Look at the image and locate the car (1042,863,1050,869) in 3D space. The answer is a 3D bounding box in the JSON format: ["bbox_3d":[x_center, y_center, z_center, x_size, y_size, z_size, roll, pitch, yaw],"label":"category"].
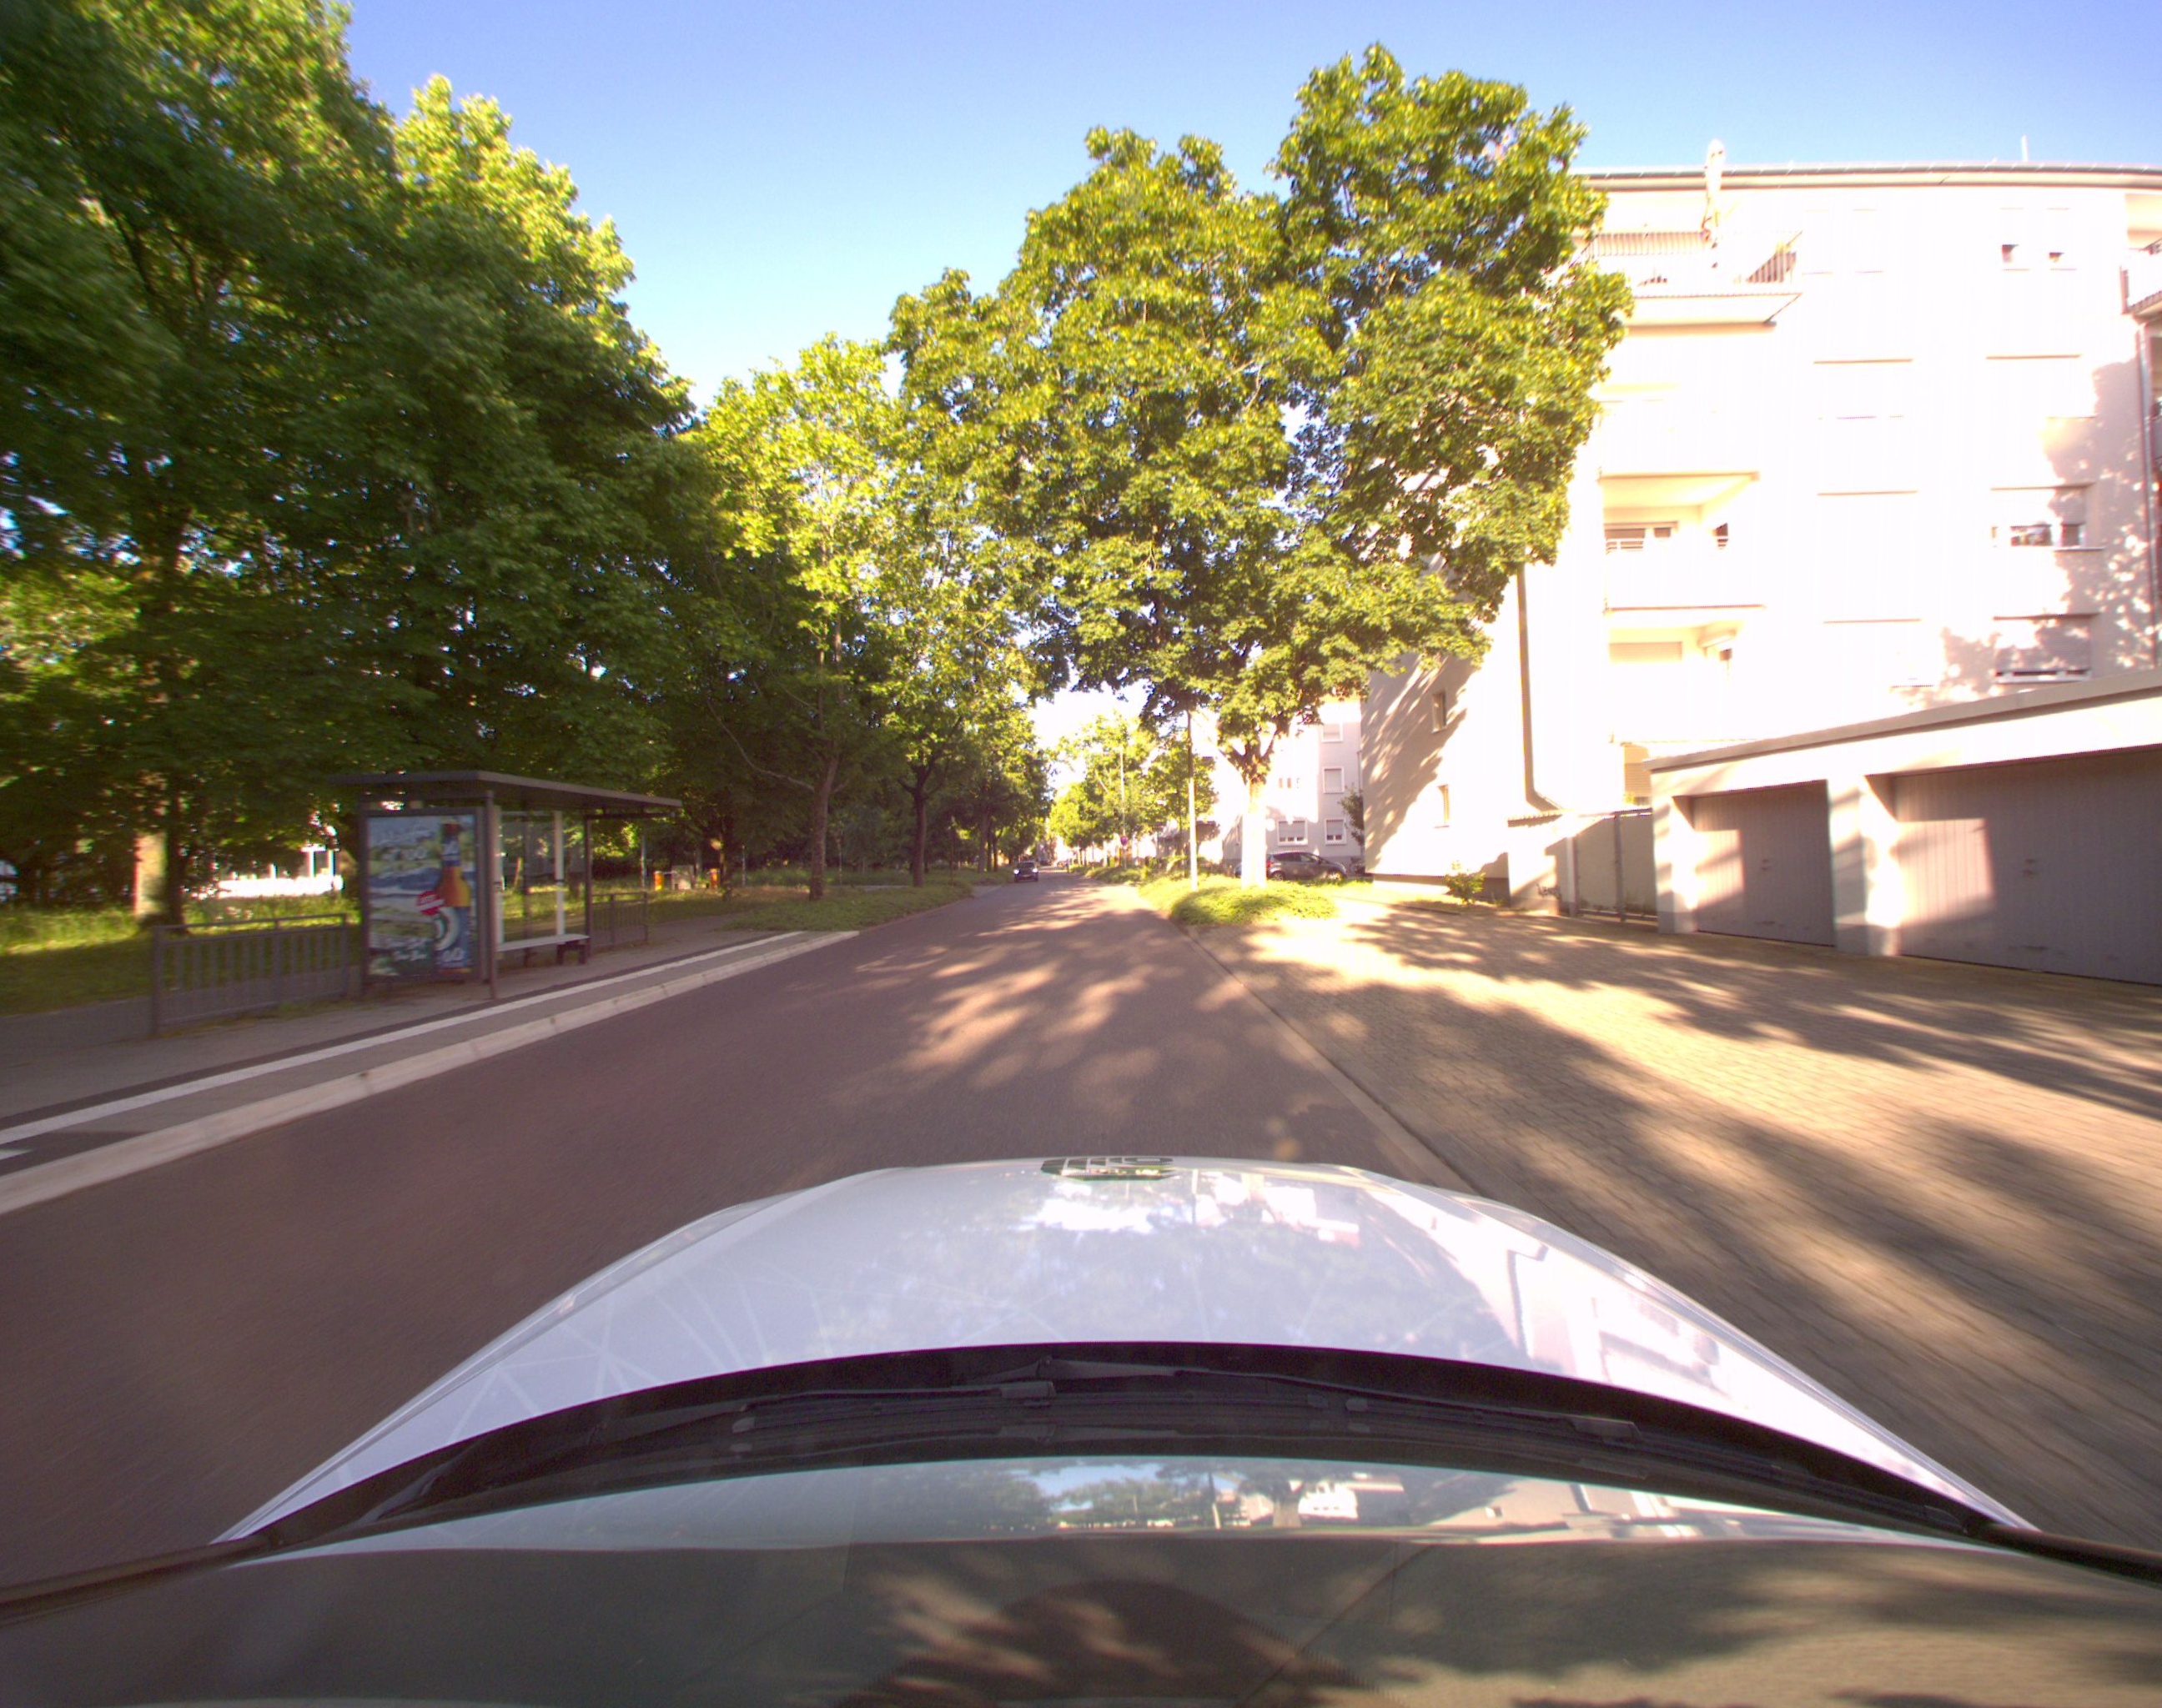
[{"bbox_3d":[-9.303,3.266,215.270,1.809,1.501,3.990,0,-1,-7],"label":"car"}]

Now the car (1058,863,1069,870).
[{"bbox_3d":[-3.832,2.740,178.749,1.812,1.501,3.985,-2,-1,-11],"label":"car"}]

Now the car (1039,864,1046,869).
[{"bbox_3d":[-10.505,3.381,221.731,1.809,1.501,3.990,0,-1,-7],"label":"car"}]

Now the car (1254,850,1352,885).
[{"bbox_3d":[10.204,0.624,37.645,4.031,1.514,1.725,-1,-2,-3],"label":"car"}]

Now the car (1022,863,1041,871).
[{"bbox_3d":[-10.727,2.807,176.303,3.989,1.501,1.810,0,-1,-12],"label":"car"}]

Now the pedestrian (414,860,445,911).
[{"bbox_3d":[-26.187,1.264,32.742,0.754,2.014,0.589,0,-1,-3],"label":"pedestrian"}]

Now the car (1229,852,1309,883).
[{"bbox_3d":[10.438,0.727,45.394,3.979,1.581,1.807,-2,0,-4],"label":"car"}]

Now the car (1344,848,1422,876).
[{"bbox_3d":[17.042,0.442,46.073,3.814,1.498,1.647,-1,-1,-2],"label":"car"}]

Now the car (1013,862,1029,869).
[{"bbox_3d":[-13.937,2.638,188.482,3.589,1.510,1.494,0,-1,-12],"label":"car"}]

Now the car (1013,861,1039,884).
[{"bbox_3d":[-4.241,1.420,63.418,1.839,1.579,4.331,-3,0,-2],"label":"car"}]

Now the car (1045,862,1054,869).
[{"bbox_3d":[-8.038,2.929,207.214,1.809,1.926,3.990,0,-1,-7],"label":"car"}]
